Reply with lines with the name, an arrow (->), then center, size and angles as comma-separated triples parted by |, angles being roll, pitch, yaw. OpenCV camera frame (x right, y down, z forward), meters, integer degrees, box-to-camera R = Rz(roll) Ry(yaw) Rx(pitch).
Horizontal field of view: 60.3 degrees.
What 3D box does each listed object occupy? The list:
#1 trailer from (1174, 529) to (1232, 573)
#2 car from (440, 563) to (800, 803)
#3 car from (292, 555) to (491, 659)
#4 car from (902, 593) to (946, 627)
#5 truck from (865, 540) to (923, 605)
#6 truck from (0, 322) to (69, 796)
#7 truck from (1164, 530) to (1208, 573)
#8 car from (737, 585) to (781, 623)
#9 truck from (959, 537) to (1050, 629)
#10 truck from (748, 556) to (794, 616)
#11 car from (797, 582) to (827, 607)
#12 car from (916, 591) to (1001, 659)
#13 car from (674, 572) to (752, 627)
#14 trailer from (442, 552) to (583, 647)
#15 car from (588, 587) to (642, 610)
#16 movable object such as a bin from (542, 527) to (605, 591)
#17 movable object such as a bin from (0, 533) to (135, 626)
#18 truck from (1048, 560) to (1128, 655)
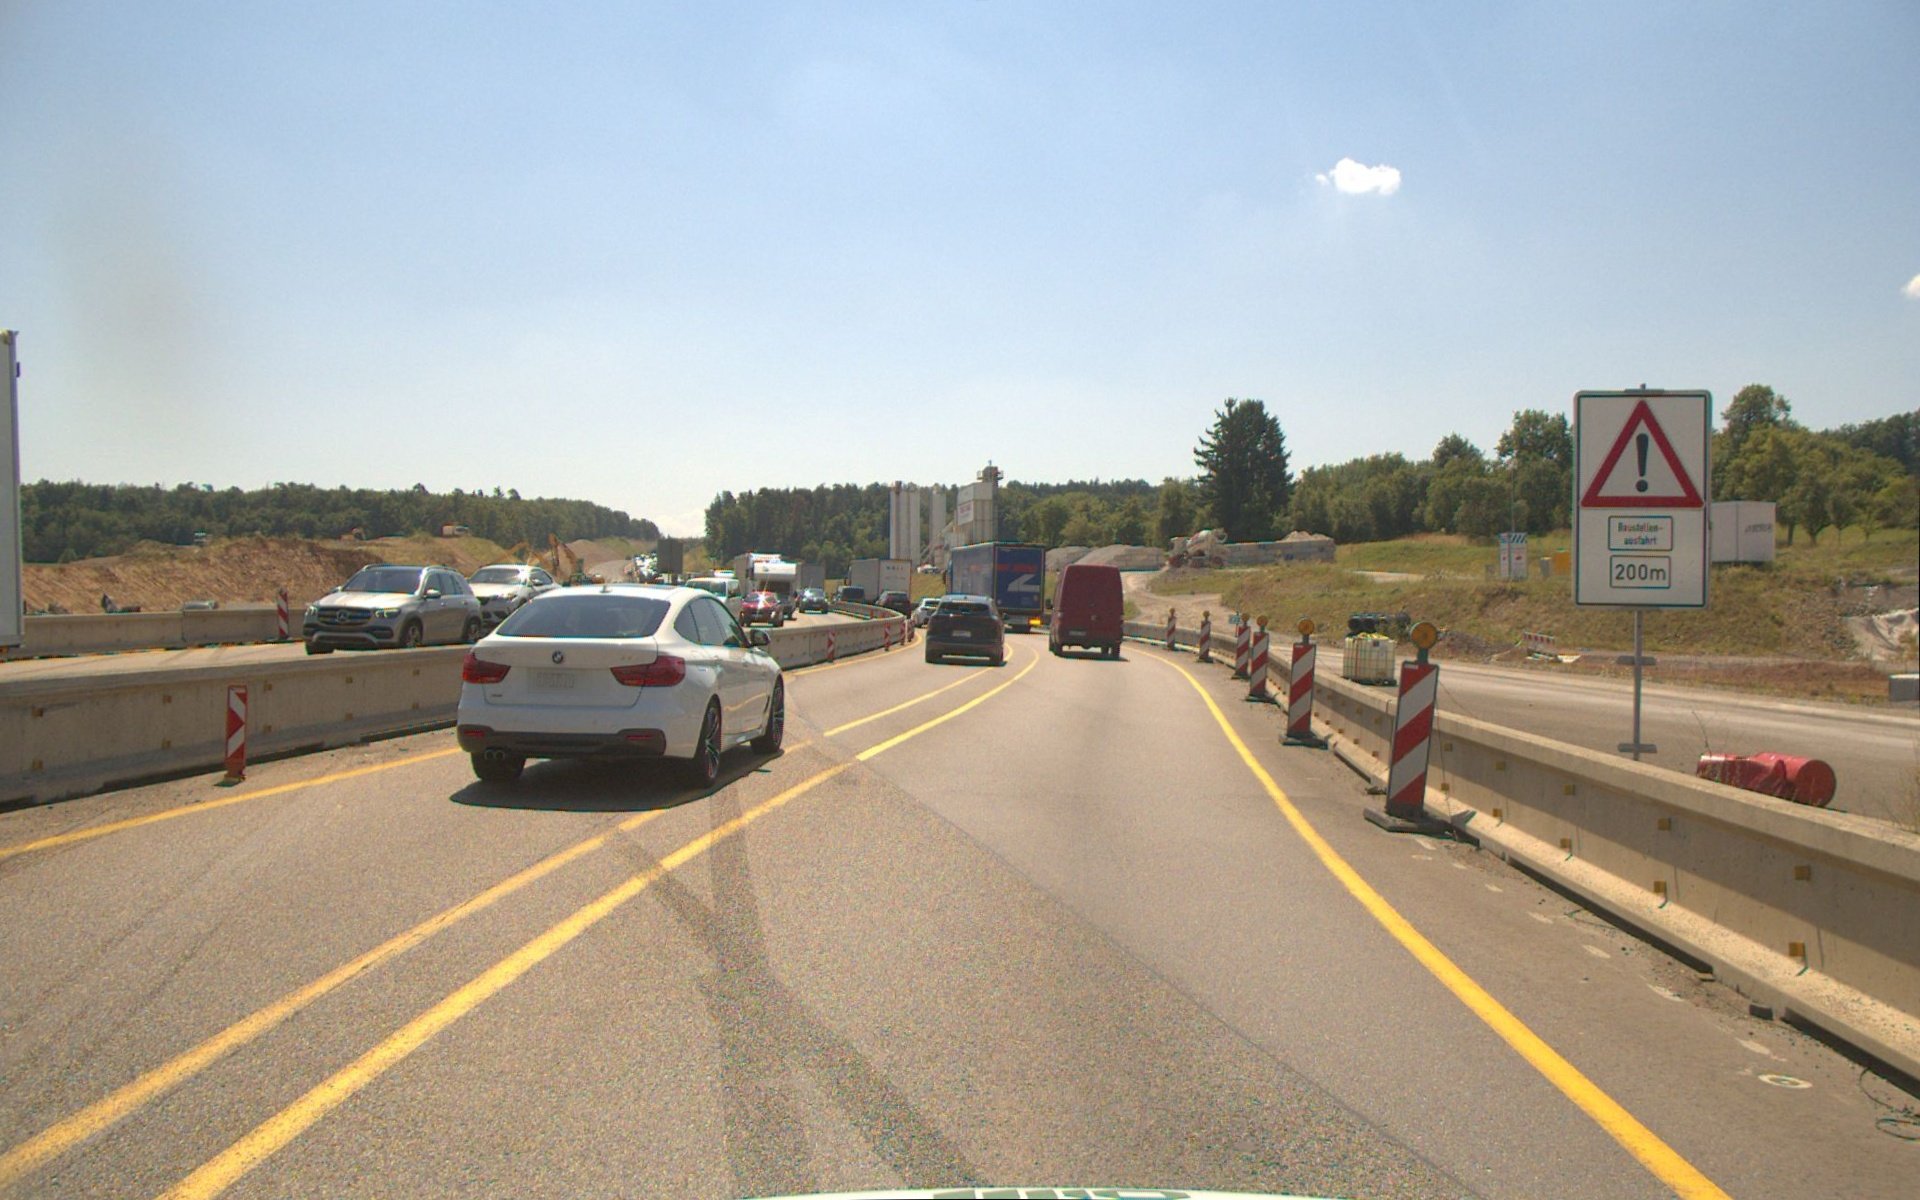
trailer -> 23.886, -4.774, 162.925 | 2.716, 4.186, 6.704 | 1, 0, -21
car -> -2.587, 0.549, 13.908 | 1.758, 1.561, 5.074 | 3, 0, 2
car -> -10.893, 0.114, 32.124 | 1.826, 1.838, 4.909 | -1, 0, 4
car -> -1.801, 0.461, 80.966 | 1.767, 1.607, 3.994 | 1, 0, -7
truck -> -5.179, -2.077, 128.023 | 3.614, 4.773, 9.737 | 1, 0, -7
truck -> -8.349, -0.290, 9.406 | 2.525, 3.440, 6.930 | 1, 0, 3
truck -> 22.660, -4.812, 166.177 | 2.706, 4.167, 4.075 | 1, 0, -21
car -> -9.157, 0.168, 75.575 | 1.686, 1.656, 4.333 | 1, 0, -4
truck -> 2.091, -0.823, 81.399 | 2.960, 4.225, 8.255 | 1, 0, -9
truck -> -10.435, -0.779, 91.627 | 2.394, 3.125, 7.239 | 1, 0, -6
car -> -9.947, -0.402, 111.443 | 1.626, 1.633, 4.396 | 1, 0, -1
car -> 0.004, 0.567, 40.314 | 1.757, 1.561, 3.933 | 1, 0, 4
car -> -9.279, -0.041, 62.420 | 1.826, 1.987, 4.895 | 1, 0, 4
trailer -> -10.312, -0.027, 38.430 | 1.827, 2.057, 4.438 | 1, 0, 3
car -> -22.980, -0.114, 110.198 | 3.169, 1.481, 1.526 | 1, 0, -39
movable object such as a bin -> -49.178, -5.185, 210.657 | 7.500, 7.848, 3.436 | 1, 0, -11
movable object such as a bin -> -32.038, -0.727, 59.492 | 1.951, 3.195, 4.281 | 1, 0, 12
truck -> 3.815, 0.177, 50.443 | 2.068, 2.679, 6.485 | 1, 0, 1
